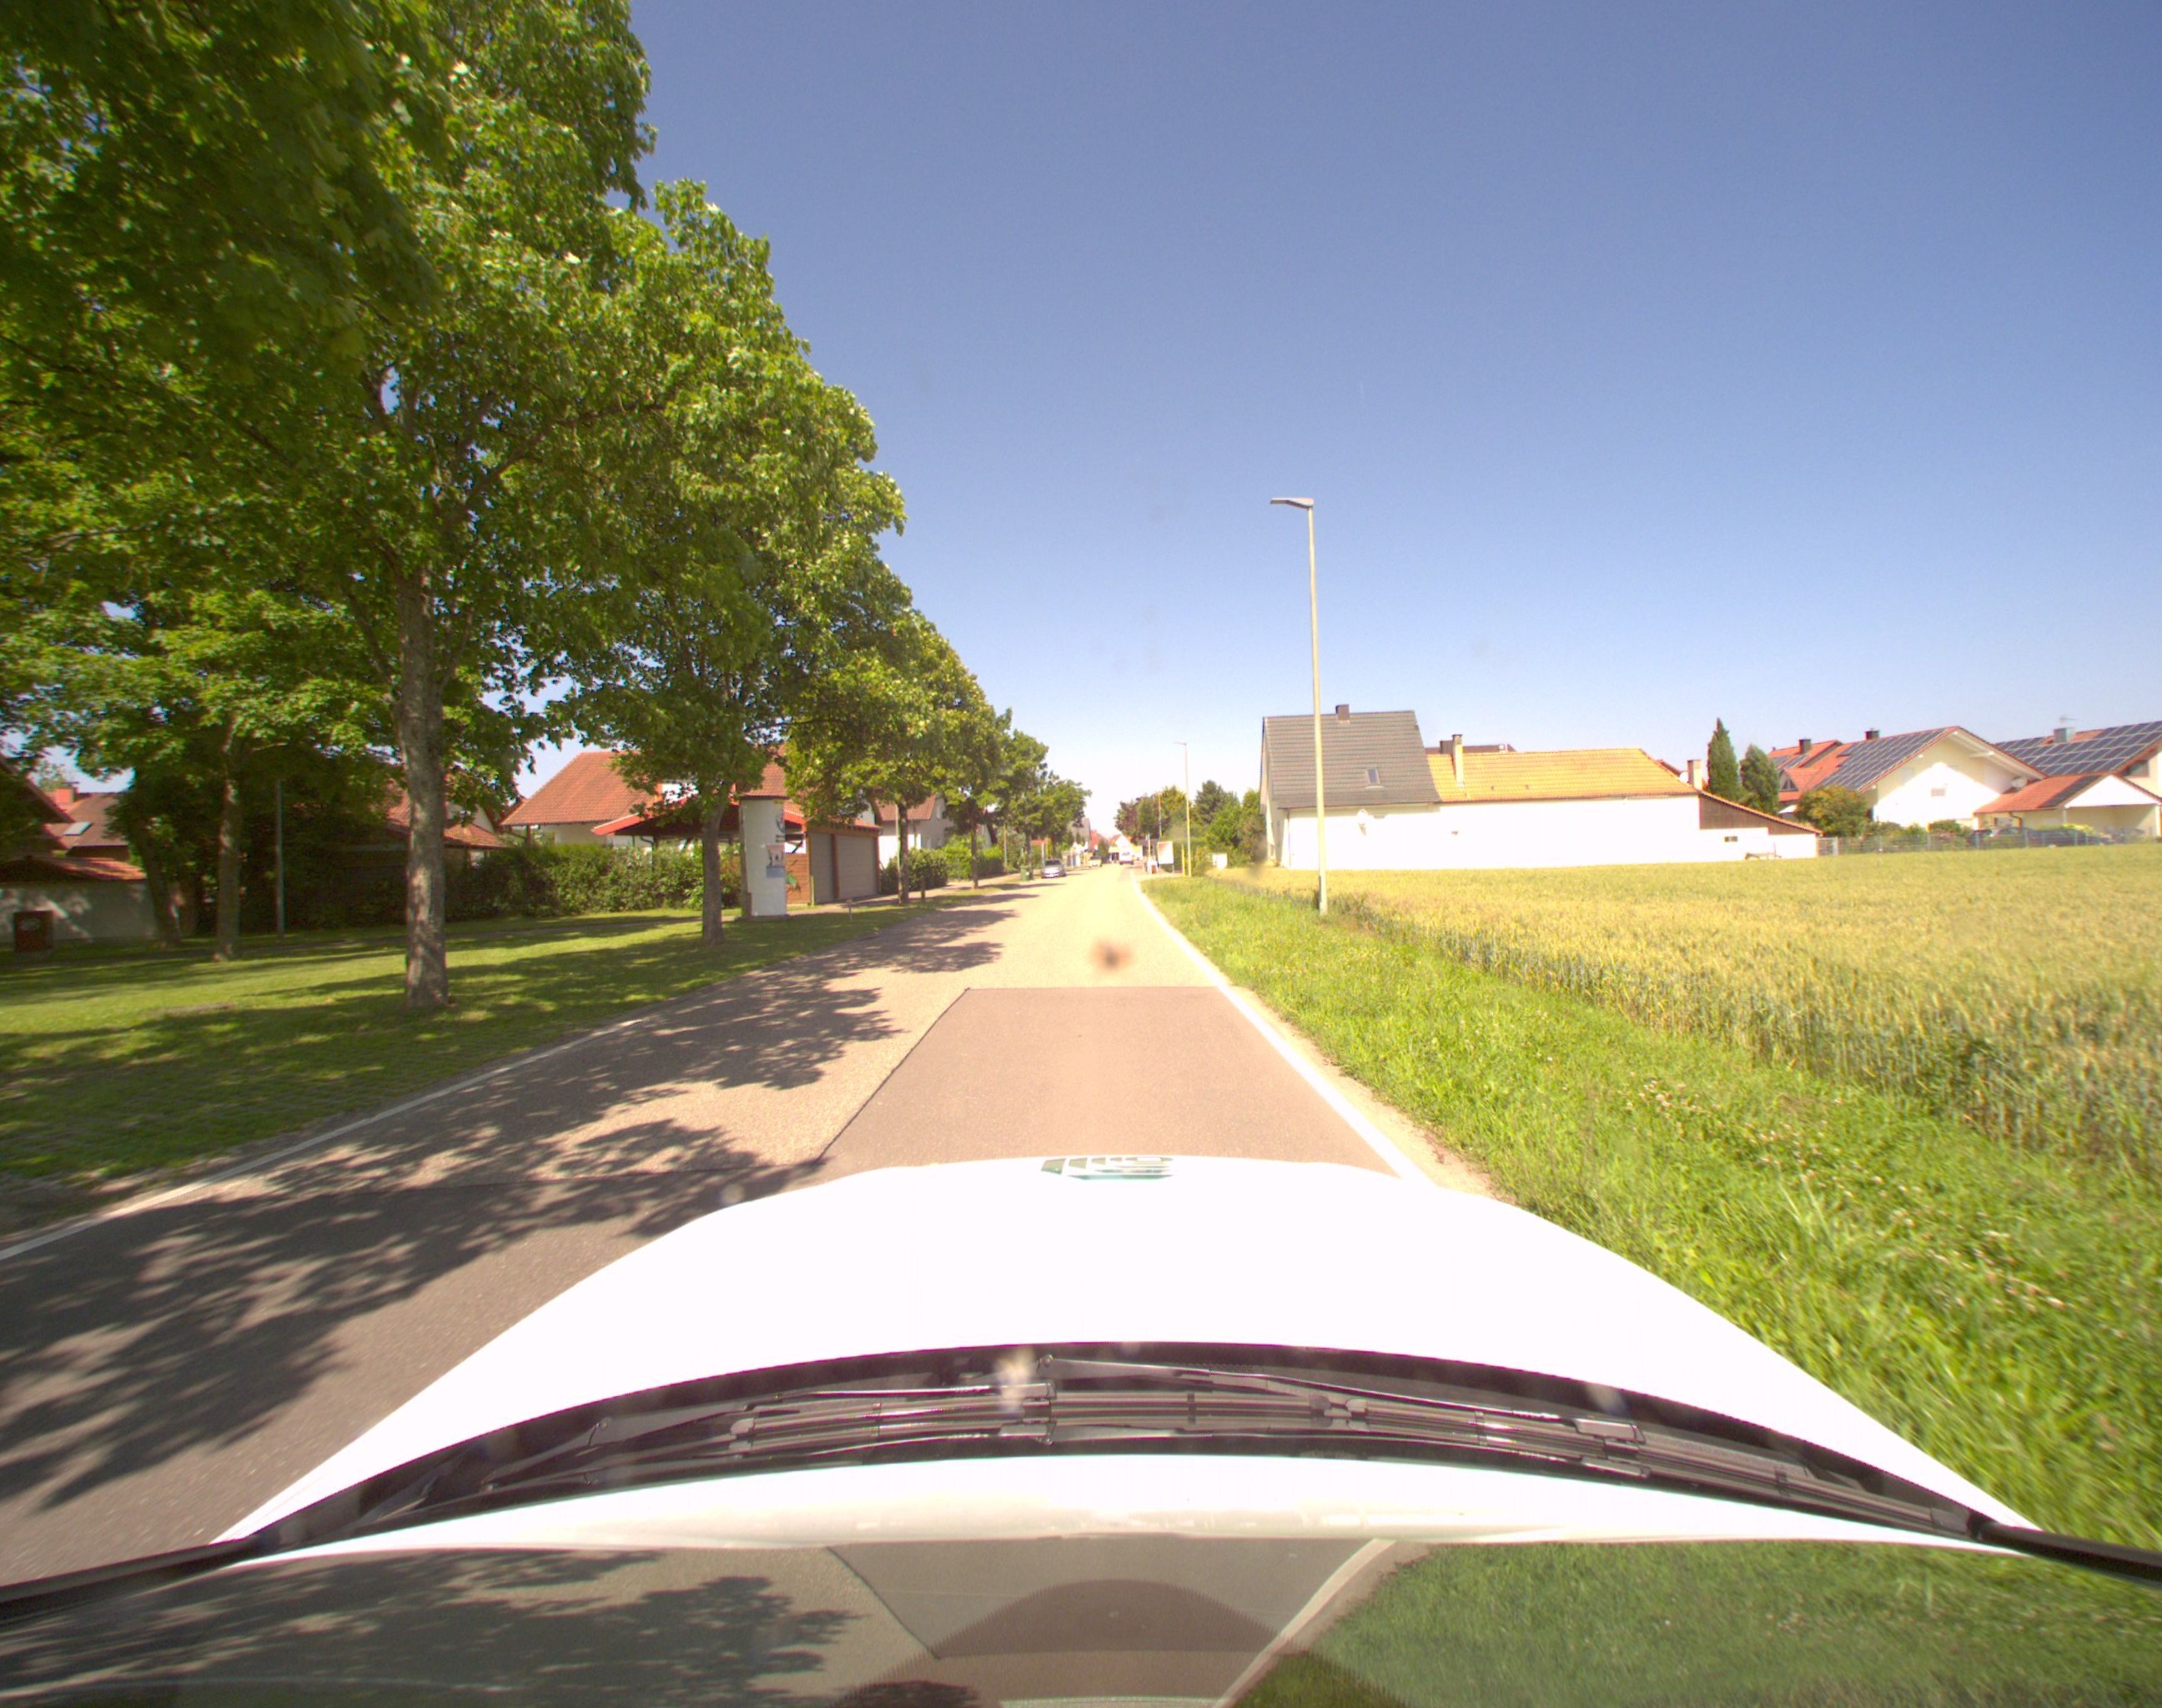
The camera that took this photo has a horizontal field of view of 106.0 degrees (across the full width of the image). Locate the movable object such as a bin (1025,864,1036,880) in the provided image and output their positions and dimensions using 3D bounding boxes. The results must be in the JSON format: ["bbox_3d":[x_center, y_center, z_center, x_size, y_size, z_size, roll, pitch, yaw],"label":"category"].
[{"bbox_3d":[-3.616,1.266,58.153,0.570,1.079,0.601,-3,-1,16],"label":"movable object such as a bin"}]

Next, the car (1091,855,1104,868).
[{"bbox_3d":[2.242,0.999,109.785,1.660,1.524,3.442,-3,0,0],"label":"car"}]

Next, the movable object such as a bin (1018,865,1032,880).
[{"bbox_3d":[-3.931,1.300,57.389,0.706,1.079,0.643,-3,-1,28],"label":"movable object such as a bin"}]

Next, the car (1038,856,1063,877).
[{"bbox_3d":[-2.307,0.963,62.703,1.641,1.423,4.081,-5,0,1],"label":"car"}]

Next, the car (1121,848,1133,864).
[{"bbox_3d":[7.203,0.285,127.540,1.730,2.432,4.377,-3,0,3],"label":"car"}]
